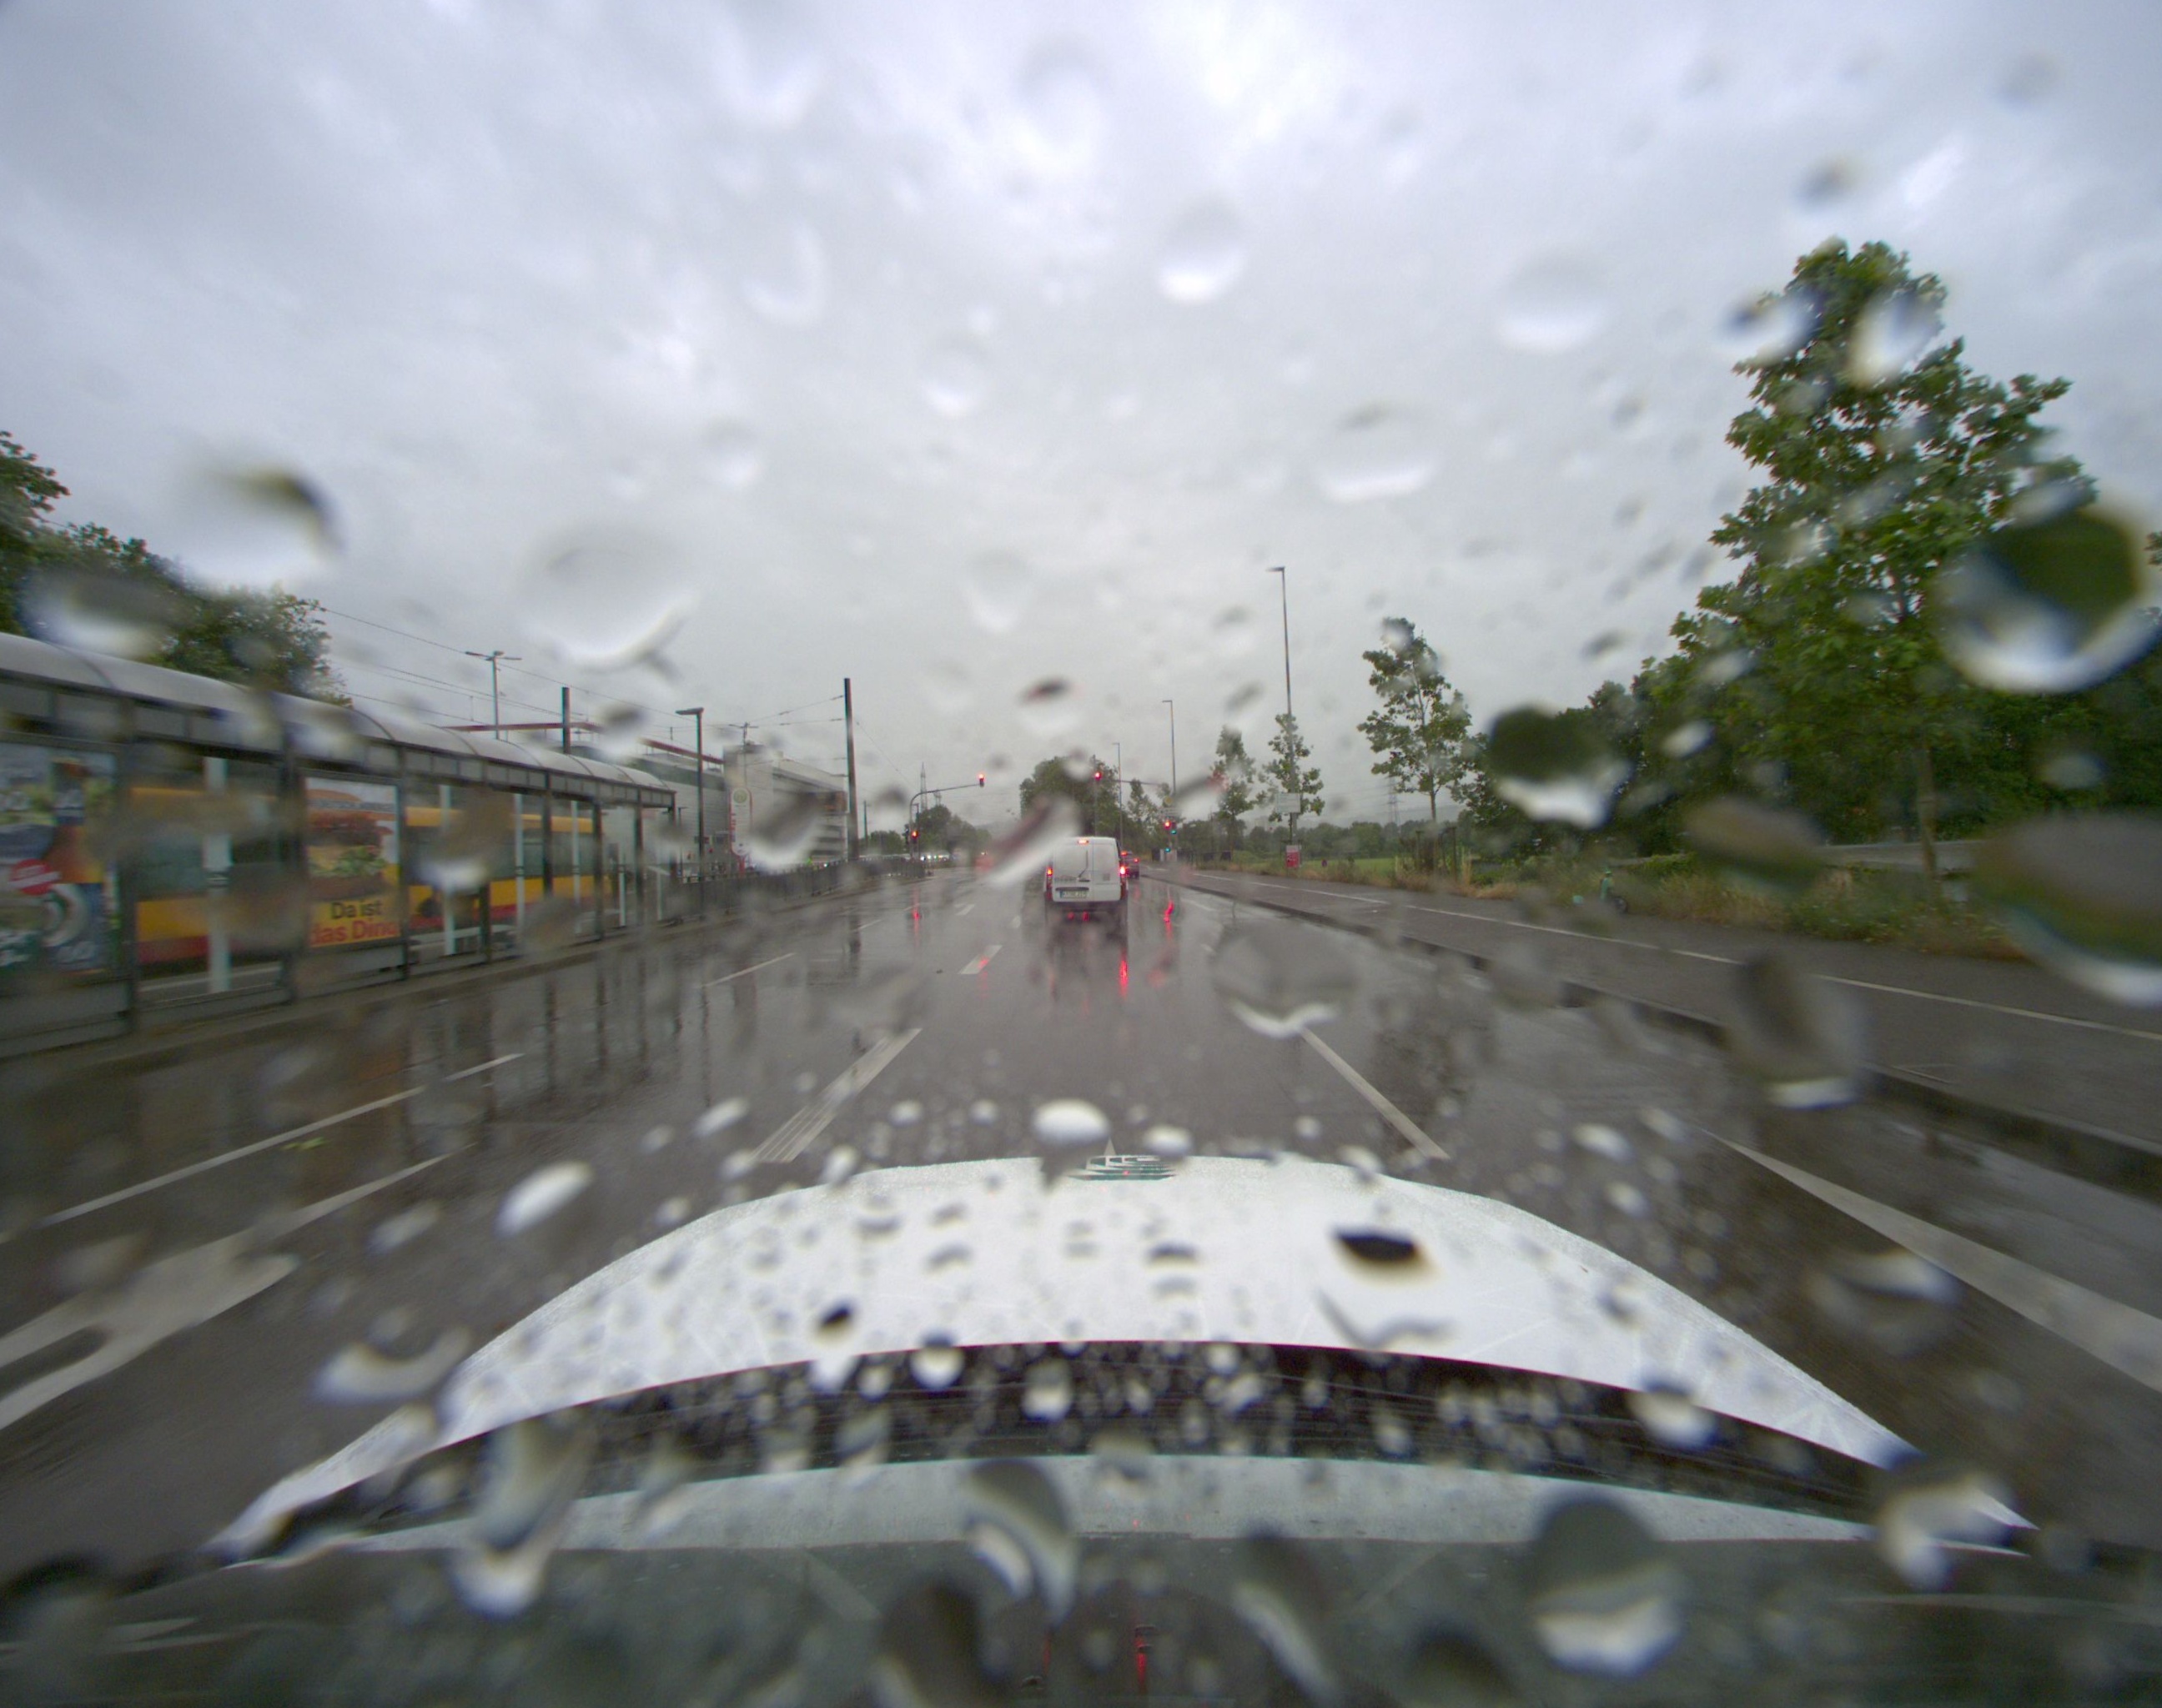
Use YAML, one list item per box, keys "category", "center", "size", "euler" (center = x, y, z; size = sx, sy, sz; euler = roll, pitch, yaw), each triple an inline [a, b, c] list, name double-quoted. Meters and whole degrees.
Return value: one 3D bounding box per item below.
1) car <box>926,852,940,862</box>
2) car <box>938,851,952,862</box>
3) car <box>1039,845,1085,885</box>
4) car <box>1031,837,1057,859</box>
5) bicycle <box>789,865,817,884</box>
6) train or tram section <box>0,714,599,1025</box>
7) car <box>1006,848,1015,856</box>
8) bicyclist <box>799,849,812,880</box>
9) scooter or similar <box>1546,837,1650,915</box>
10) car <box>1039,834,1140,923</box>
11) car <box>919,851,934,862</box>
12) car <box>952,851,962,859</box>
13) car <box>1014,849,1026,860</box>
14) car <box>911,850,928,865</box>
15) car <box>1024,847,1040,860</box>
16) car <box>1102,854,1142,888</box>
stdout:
- category: "car"
  center: [-28.855, 0.605, 159.015]
  size: [1.987, 2.013, 4.000]
  euler: [0, 0, 1]
- category: "car"
  center: [-26.167, 0.480, 156.794]
  size: [1.986, 2.013, 4.002]
  euler: [0, 0, 2]
- category: "car"
  center: [-0.865, 0.456, 37.923]
  size: [1.988, 1.750, 3.998]
  euler: [0, 0, -1]
- category: "car"
  center: [-2.970, -0.508, 66.462]
  size: [1.988, 1.750, 3.998]
  euler: [0, 0, -1]
- category: "bicycle"
  center: [-18.449, 1.341, 54.130]
  size: [1.653, 1.189, 0.594]
  euler: [-2, -1, -7]
- category: "train or tram section"
  center: [-15.952, 0.212, 10.988]
  size: [3.761, 4.036, 27.069]
  euler: [0, 0, -2]
- category: "car"
  center: [-16.852, -0.479, 194.764]
  size: [1.991, 1.750, 3.991]
  euler: [0, 0, -7]
- category: "bicyclist"
  center: [-18.326, 0.683, 54.160]
  size: [0.694, 2.013, 0.550]
  euler: [0, 0, -8]
- category: "scooter or similar"
  center: [8.538, 0.342, 13.514]
  size: [0.641, 1.195, 1.561]
  euler: [-2, 0, -3]
- category: "car"
  center: [0.065, 0.477, 18.470]
  size: [2.020, 1.775, 4.270]
  euler: [0, 0, -3]
- category: "car"
  center: [-28.614, 0.525, 151.068]
  size: [1.988, 2.013, 3.998]
  euler: [0, 0, -1]
- category: "car"
  center: [-31.060, 0.326, 204.662]
  size: [1.989, 2.013, 3.996]
  euler: [0, 0, -2]
- category: "car"
  center: [-10.558, 0.083, 141.219]
  size: [1.991, 1.750, 3.991]
  euler: [0, 0, -7]
- category: "car"
  center: [-23.636, 0.494, 119.286]
  size: [1.989, 2.013, 3.995]
  euler: [0, 0, -4]
- category: "car"
  center: [-6.868, -0.033, 113.792]
  size: [1.991, 1.750, 3.991]
  euler: [0, 0, -7]
- category: "car"
  center: [2.202, 0.893, 45.035]
  size: [1.987, 1.750, 3.999]
  euler: [0, 0, 0]
